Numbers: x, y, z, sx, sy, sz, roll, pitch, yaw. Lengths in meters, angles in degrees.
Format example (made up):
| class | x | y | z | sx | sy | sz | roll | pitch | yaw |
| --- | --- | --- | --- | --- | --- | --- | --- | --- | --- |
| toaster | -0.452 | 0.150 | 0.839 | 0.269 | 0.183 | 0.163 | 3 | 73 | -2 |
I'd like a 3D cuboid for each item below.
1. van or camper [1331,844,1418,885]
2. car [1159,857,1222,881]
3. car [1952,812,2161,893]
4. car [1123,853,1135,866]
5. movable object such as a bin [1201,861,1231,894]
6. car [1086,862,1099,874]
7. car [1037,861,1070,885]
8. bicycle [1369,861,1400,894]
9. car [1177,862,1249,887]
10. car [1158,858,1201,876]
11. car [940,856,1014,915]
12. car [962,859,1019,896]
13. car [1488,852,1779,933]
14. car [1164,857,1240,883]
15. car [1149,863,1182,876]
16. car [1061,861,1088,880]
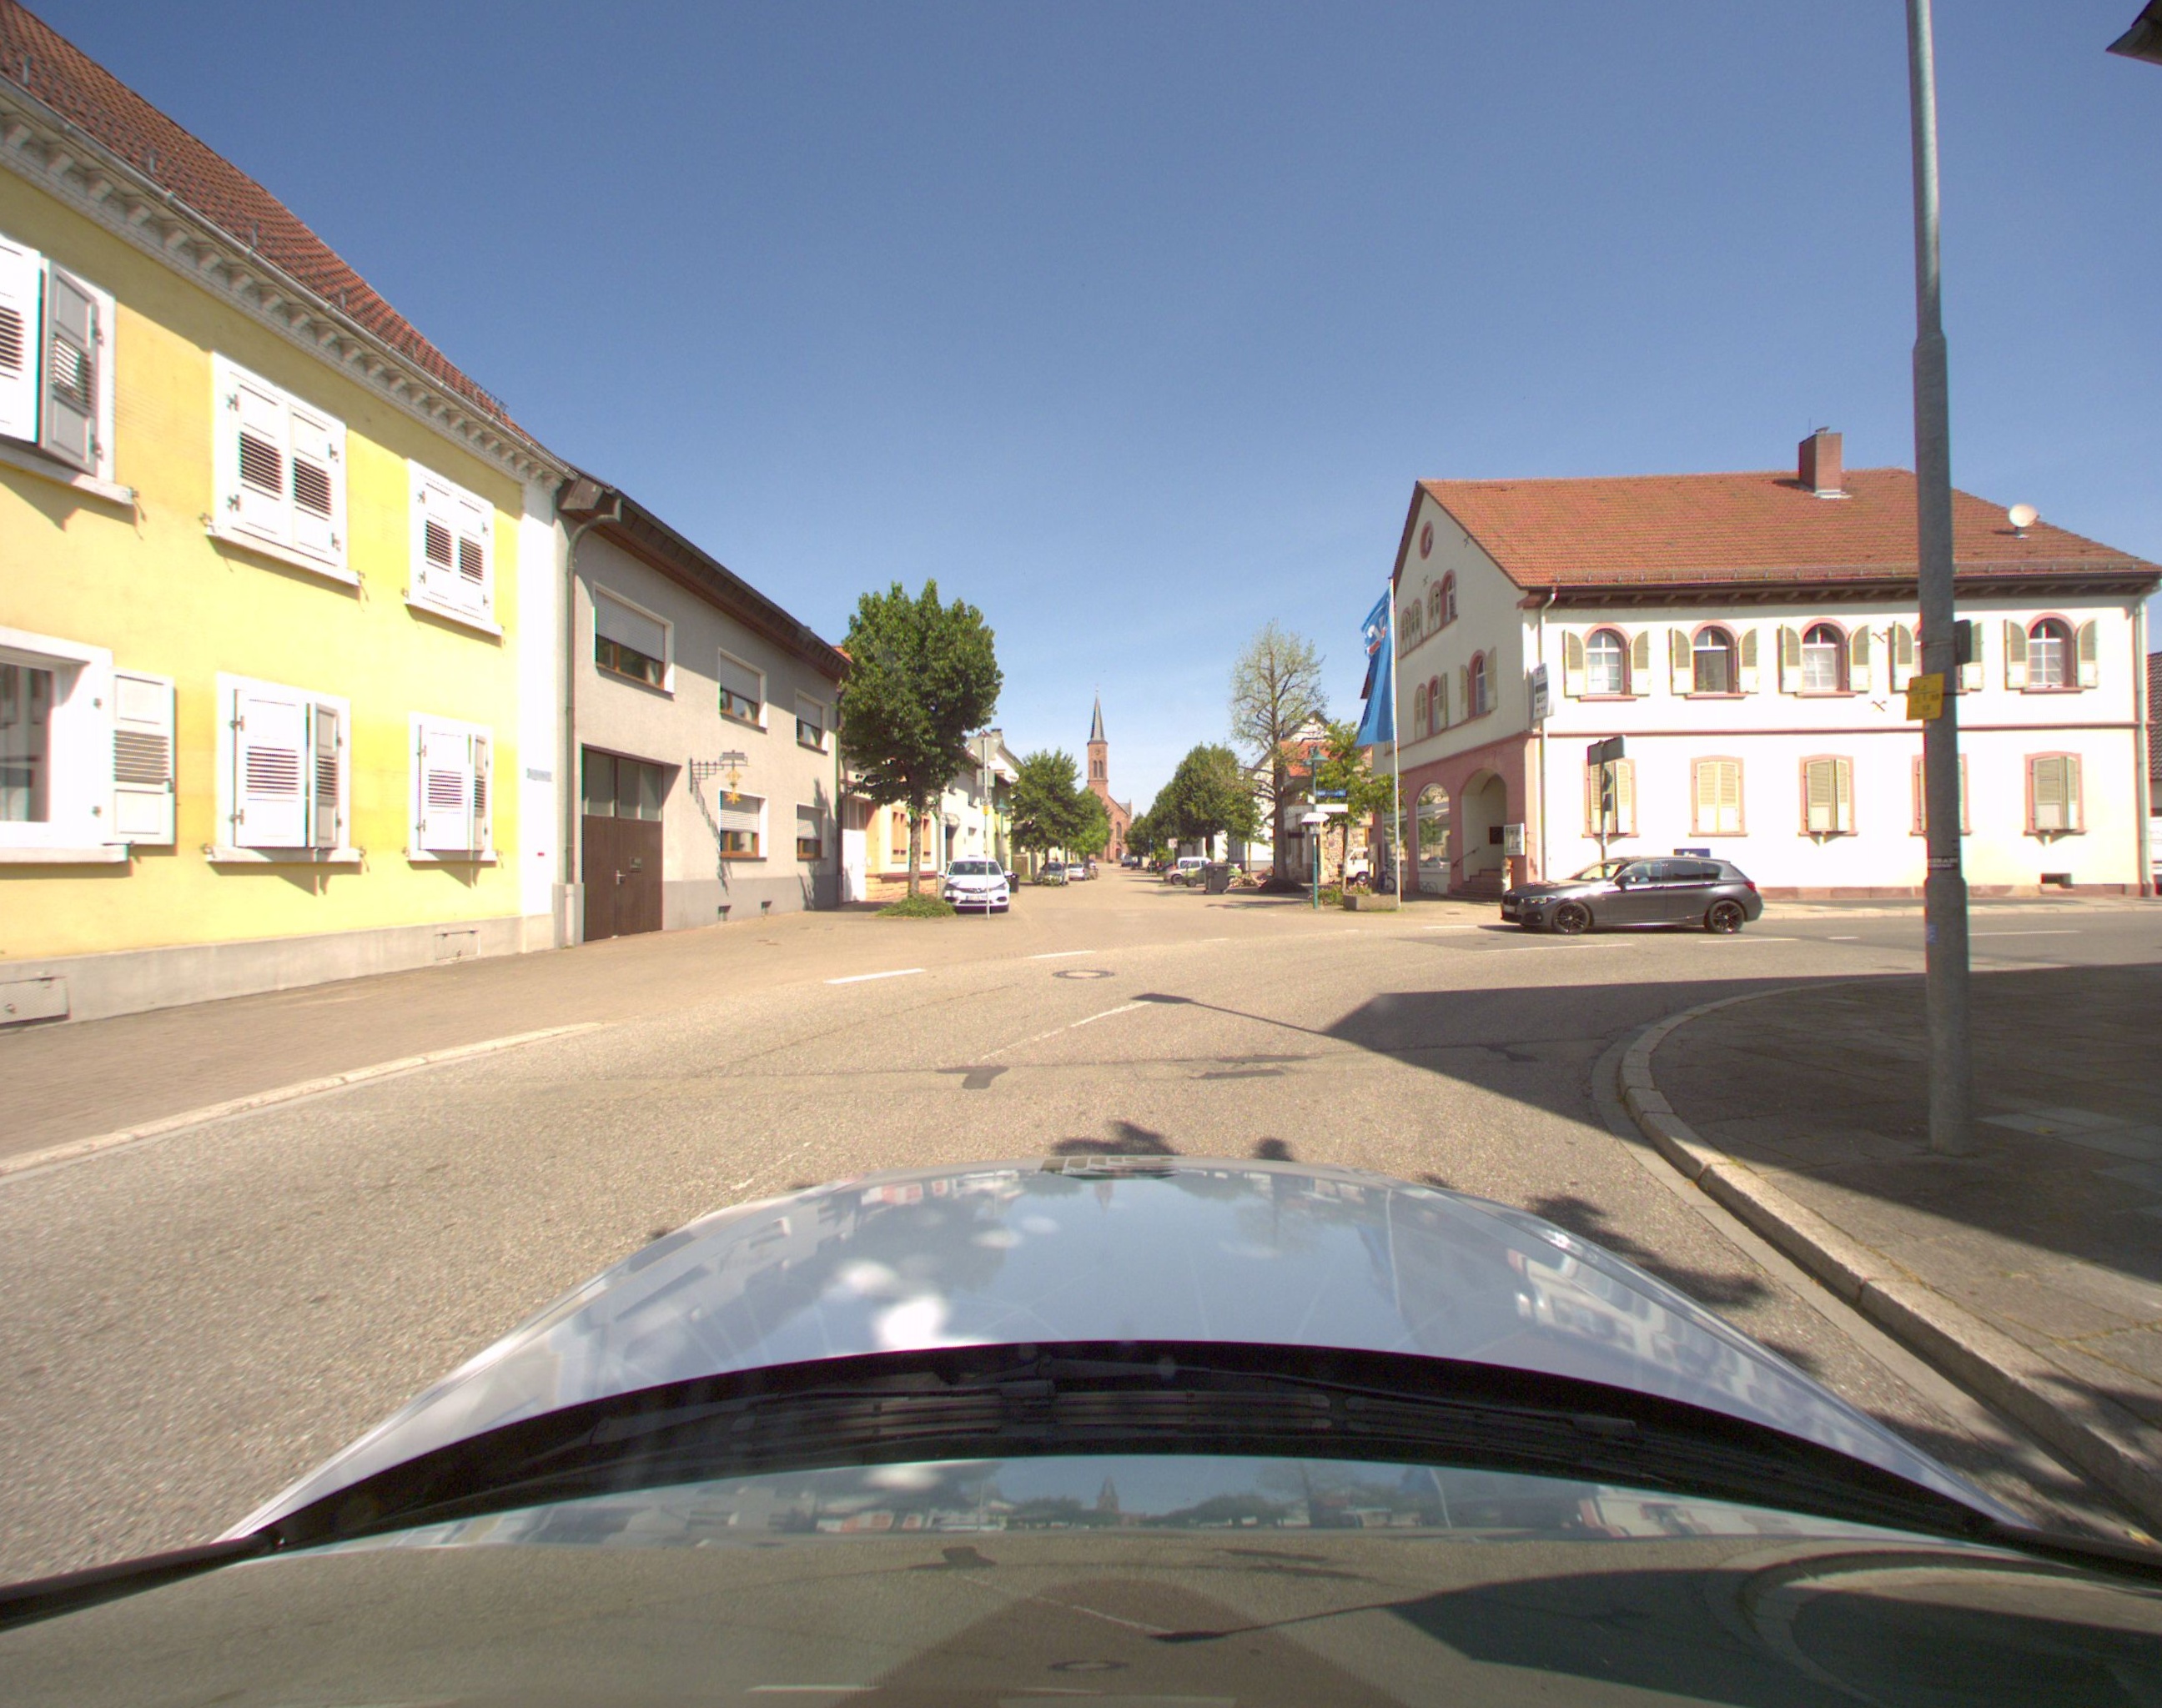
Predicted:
| class | x | y | z | sx | sy | sz | roll | pitch | yaw |
| --- | --- | --- | --- | --- | --- | --- | --- | --- | --- |
| van or camper | 15.194 | 0.522 | 42.350 | 3.961 | 2.014 | 2.006 | -1 | 0 | 11 |
| car | 7.554 | 1.019 | 56.626 | 4.134 | 1.568 | 2.001 | -1 | 0 | 2 |
| car | 30.107 | -0.077 | 24.682 | 2.106 | 2.196 | 5.199 | -1 | 0 | 4 |
| car | 8.979 | 1.081 | 152.963 | 2.236 | 2.279 | 4.505 | 1 | -1 | 2 |
| movable object such as a bin | 5.719 | 0.992 | 34.498 | 1.182 | 1.338 | 0.790 | -1 | -1 | 6 |
| car | 1.898 | 2.329 | 137.252 | 1.988 | 1.816 | 3.998 | -1 | 0 | -1 |
| car | -1.853 | 1.253 | 55.315 | 1.986 | 1.574 | 4.000 | -1 | -1 | 1 |
| bicycle | 10.895 | 0.812 | 29.327 | 0.590 | 1.136 | 1.751 | -1 | 0 | 5 |
| car | 7.642 | 1.153 | 47.344 | 3.909 | 1.344 | 2.001 | -1 | 0 | 2 |
| car | 9.558 | 1.253 | 79.497 | 3.972 | 1.640 | 2.001 | -1 | 0 | 1 |
| car | -2.975 | 0.803 | 22.834 | 1.849 | 1.440 | 4.498 | -1 | 0 | -9 |
| car | -3.788 | 0.949 | 34.917 | 1.979 | 1.440 | 5.208 | -1 | 0 | -1 |
| car | 10.212 | 0.688 | 15.321 | 4.236 | 1.376 | 1.743 | -1 | 0 | 3 |
| car | 7.941 | 1.058 | 53.784 | 4.785 | 1.623 | 2.001 | -1 | 0 | 2 |
| car | 10.671 | 1.954 | 103.420 | 3.974 | 1.618 | 2.000 | -1 | 0 | 0 |
| car | -0.575 | 1.319 | 66.446 | 1.990 | 1.464 | 3.994 | 0 | 0 | -4 |
